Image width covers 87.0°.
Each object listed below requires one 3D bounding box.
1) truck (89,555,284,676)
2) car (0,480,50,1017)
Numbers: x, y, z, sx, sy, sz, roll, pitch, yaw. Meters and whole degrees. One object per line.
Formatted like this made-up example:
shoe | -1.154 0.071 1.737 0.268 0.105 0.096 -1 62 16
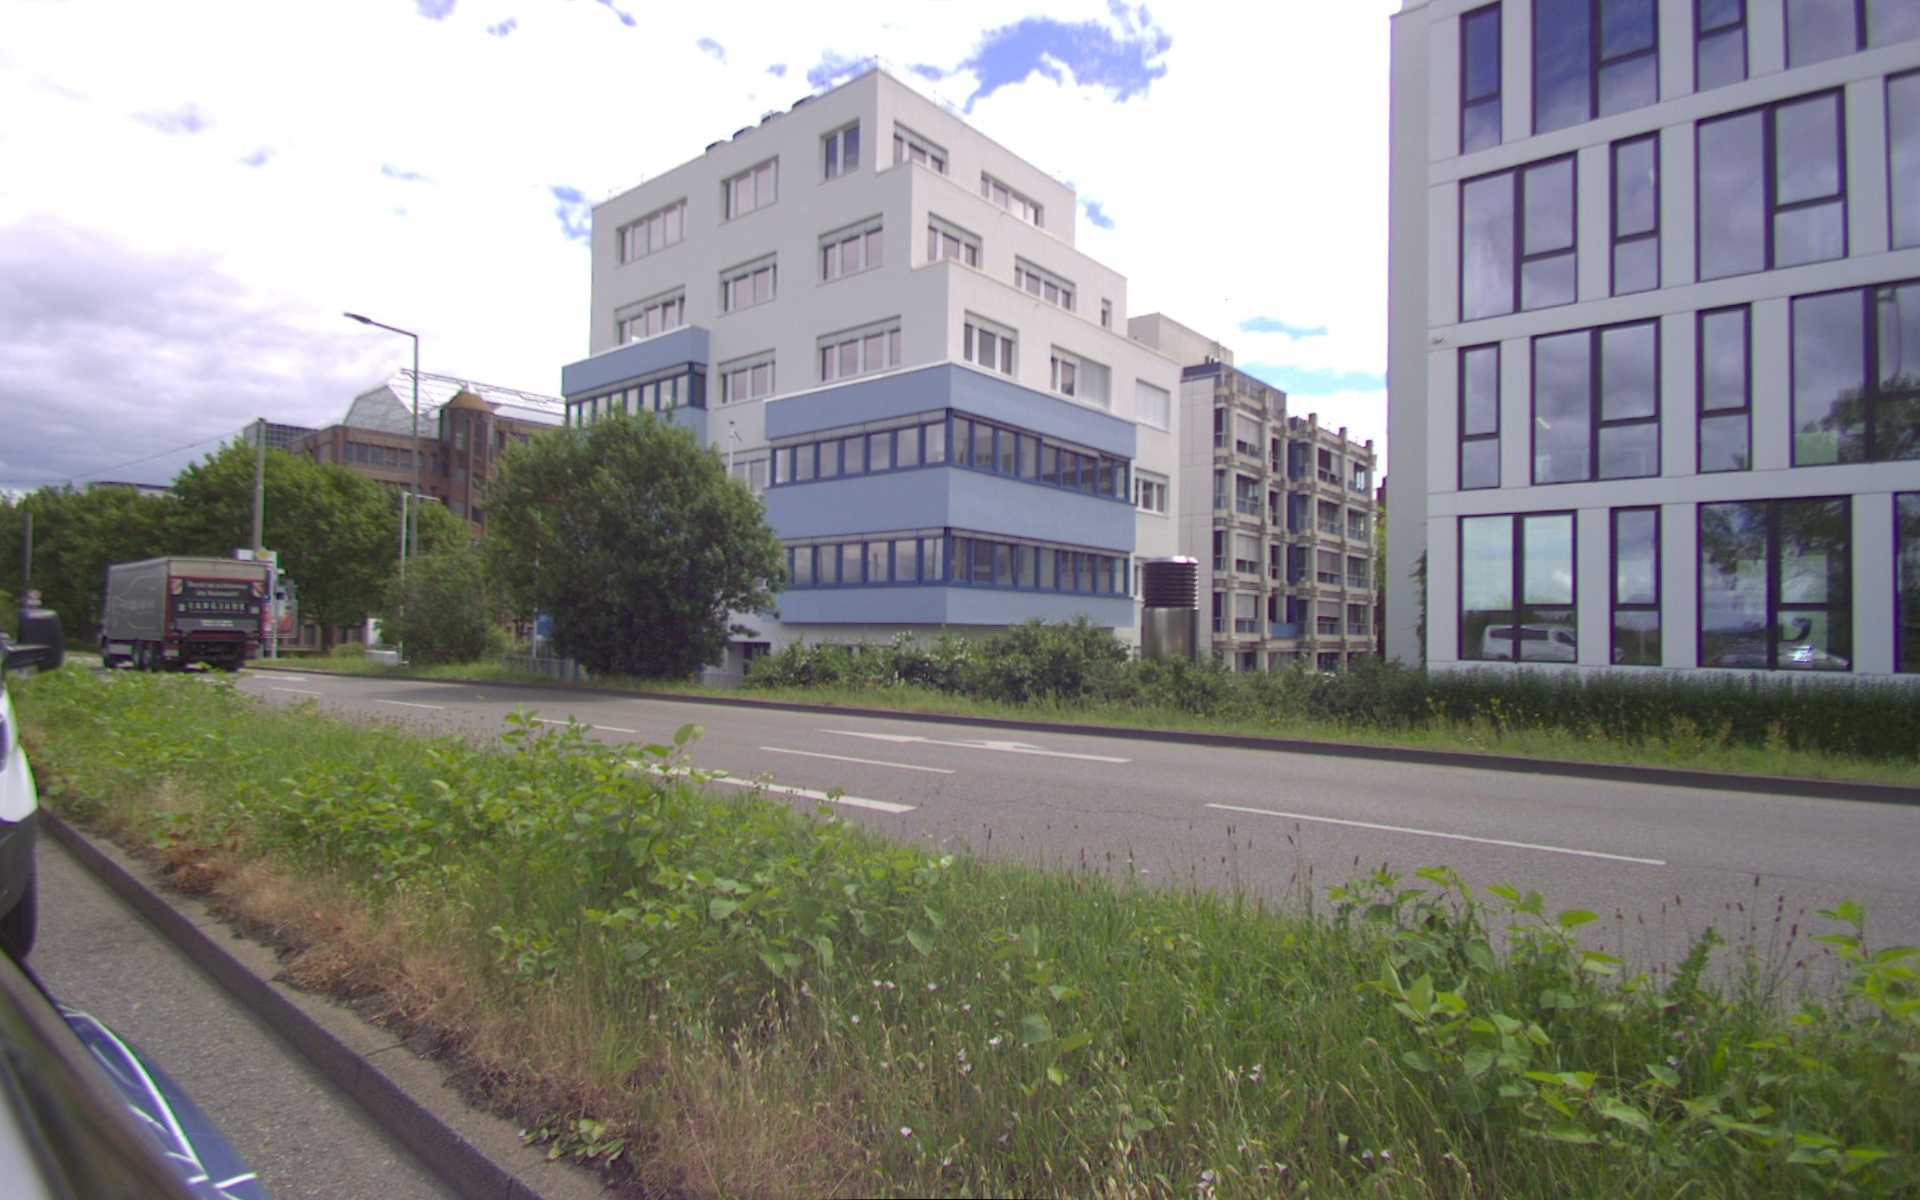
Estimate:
truck | -26.073 0.554 33.888 9.519 3.545 3.135 -1 -3 40
car | -5.958 0.585 4.743 5.052 1.965 1.942 -1 -1 41
